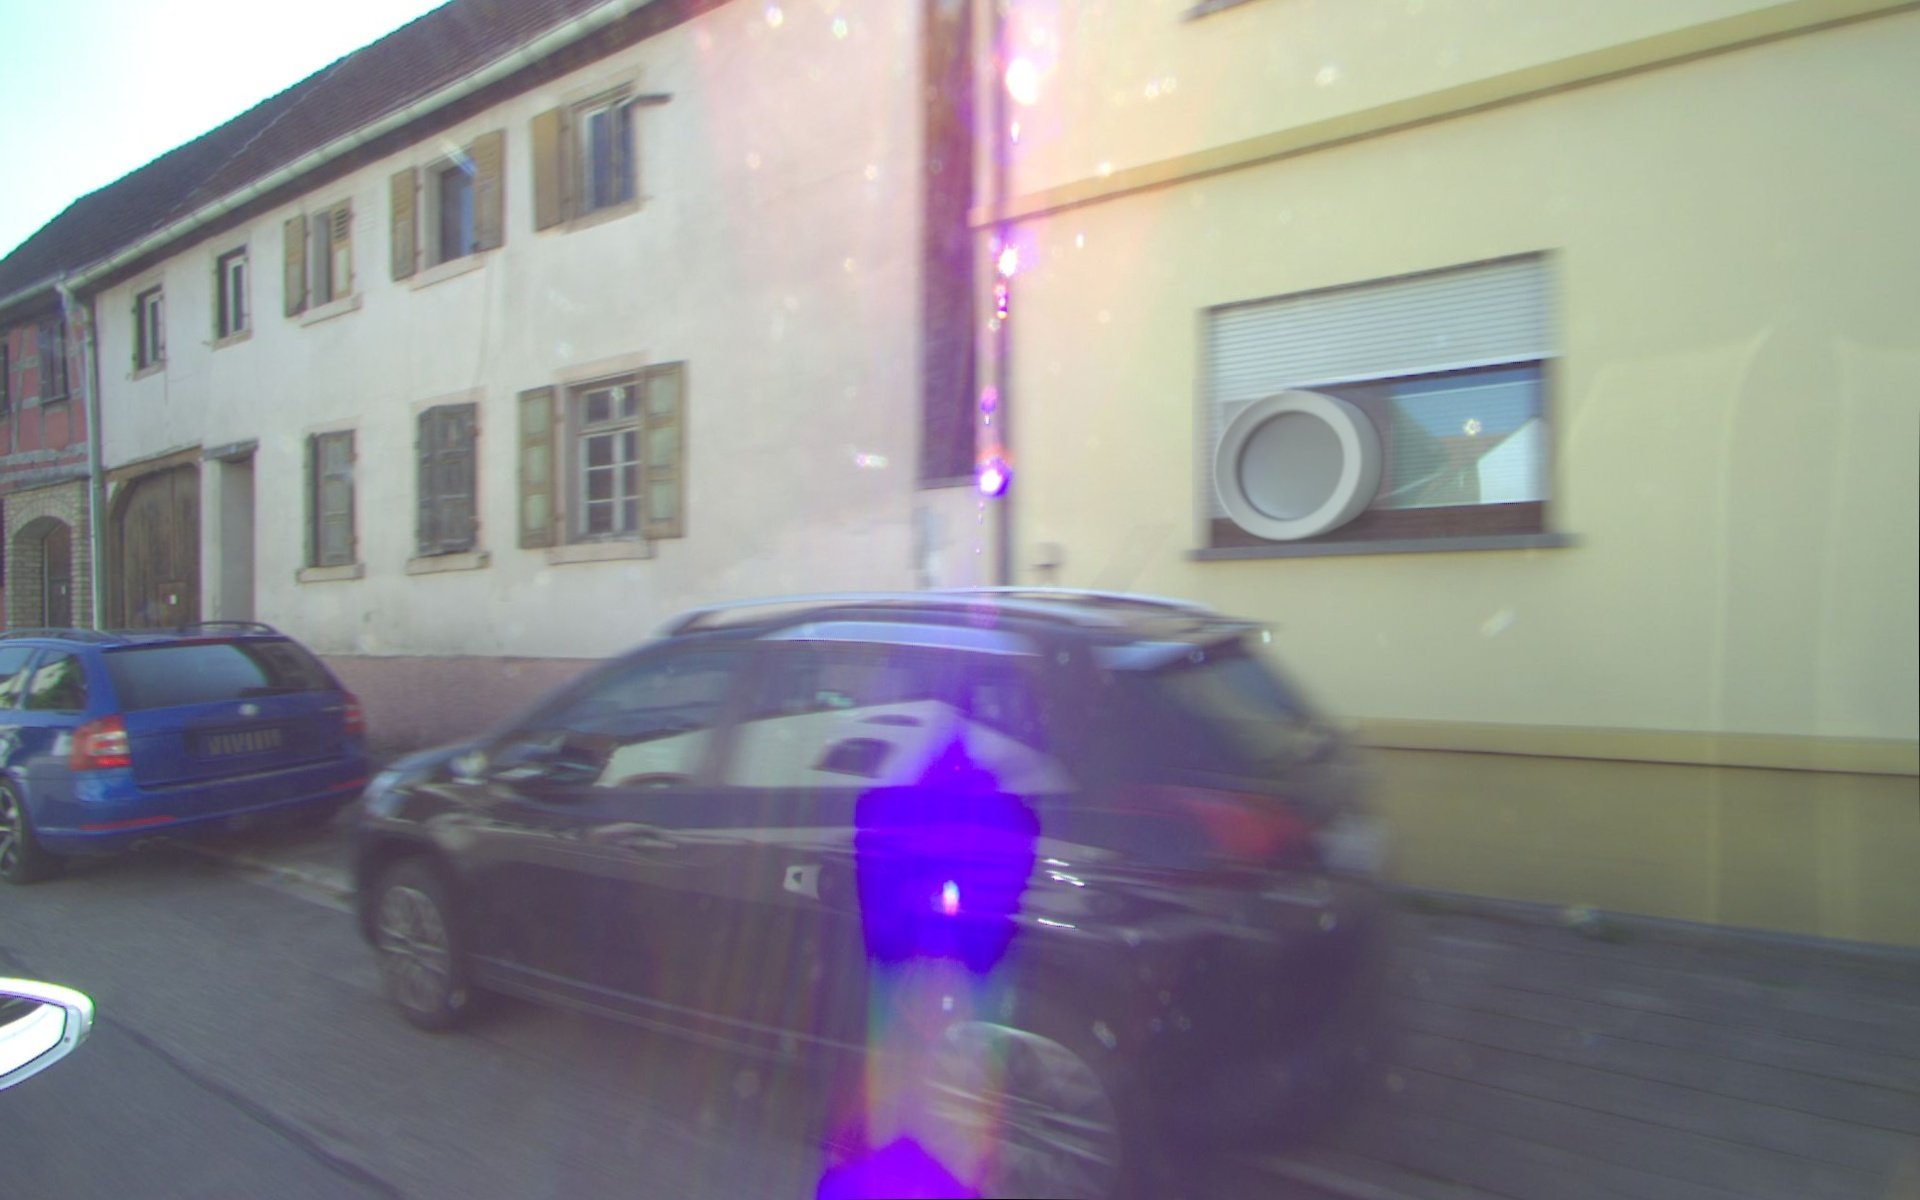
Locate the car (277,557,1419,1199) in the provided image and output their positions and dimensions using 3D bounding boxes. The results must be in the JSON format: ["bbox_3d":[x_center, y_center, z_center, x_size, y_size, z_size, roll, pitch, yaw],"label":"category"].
[{"bbox_3d":[-0.593,0.744,3.670,3.969,1.605,1.695,-1,0,32],"label":"car"}]

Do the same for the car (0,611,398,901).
[{"bbox_3d":[-6.053,0.854,7.091,4.346,1.489,1.695,-1,0,31],"label":"car"}]
